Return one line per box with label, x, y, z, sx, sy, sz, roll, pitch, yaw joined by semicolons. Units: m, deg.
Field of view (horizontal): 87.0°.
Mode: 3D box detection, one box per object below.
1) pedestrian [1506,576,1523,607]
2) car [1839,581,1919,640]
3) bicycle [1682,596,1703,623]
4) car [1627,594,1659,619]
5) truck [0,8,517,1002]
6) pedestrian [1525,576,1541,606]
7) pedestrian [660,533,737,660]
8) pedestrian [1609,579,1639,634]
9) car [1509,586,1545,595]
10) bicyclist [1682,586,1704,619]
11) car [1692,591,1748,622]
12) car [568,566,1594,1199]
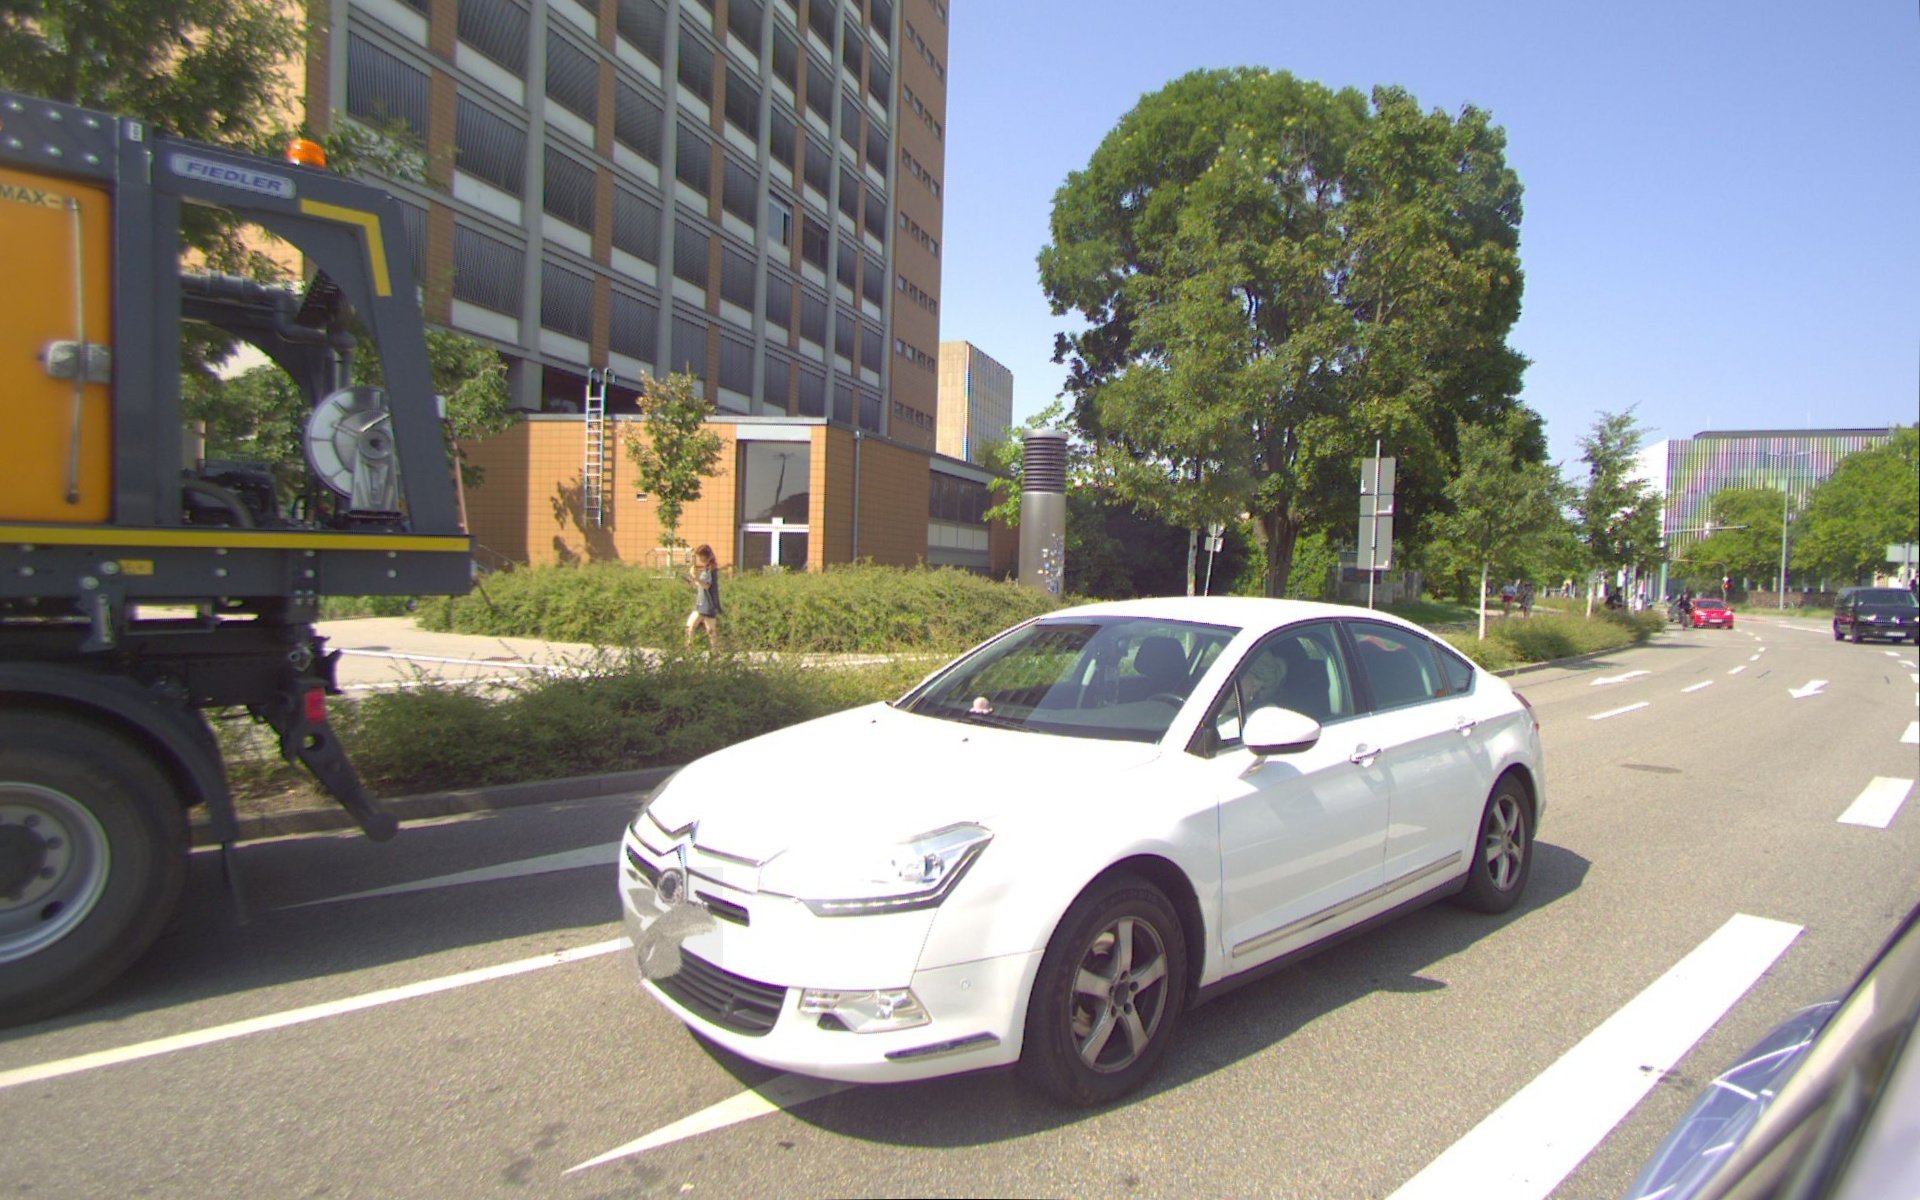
pedestrian;24.357;-0.375;44.483;0.630;1.315;0.481;0;0;32
car;32.585;0.320;35.409;1.875;1.943;4.486;1;1;29
bicycle;33.028;0.420;45.636;0.590;1.183;2.209;2;2;33
car;50.258;0.437;74.504;1.799;1.682;3.953;3;2;33
truck;-5.252;-0.329;3.084;6.736;3.174;2.498;0;1;-39
pedestrian;24.923;-0.388;44.027;0.572;1.315;0.433;0;0;31
pedestrian;-3.650;-0.058;14.125;0.792;1.720;0.671;1;1;-41
pedestrian;23.871;0.211;36.400;0.818;1.926;0.622;2;1;37
car;85.164;-1.457;151.998;4.354;1.405;1.765;0;0;13
bicyclist;32.996;0.103;45.558;0.675;1.417;1.037;2;1;33
car;37.470;0.307;49.961;1.636;1.449;3.778;1;1;28
car;0.903;0.635;4.377;4.527;1.446;1.773;0;2;-40
